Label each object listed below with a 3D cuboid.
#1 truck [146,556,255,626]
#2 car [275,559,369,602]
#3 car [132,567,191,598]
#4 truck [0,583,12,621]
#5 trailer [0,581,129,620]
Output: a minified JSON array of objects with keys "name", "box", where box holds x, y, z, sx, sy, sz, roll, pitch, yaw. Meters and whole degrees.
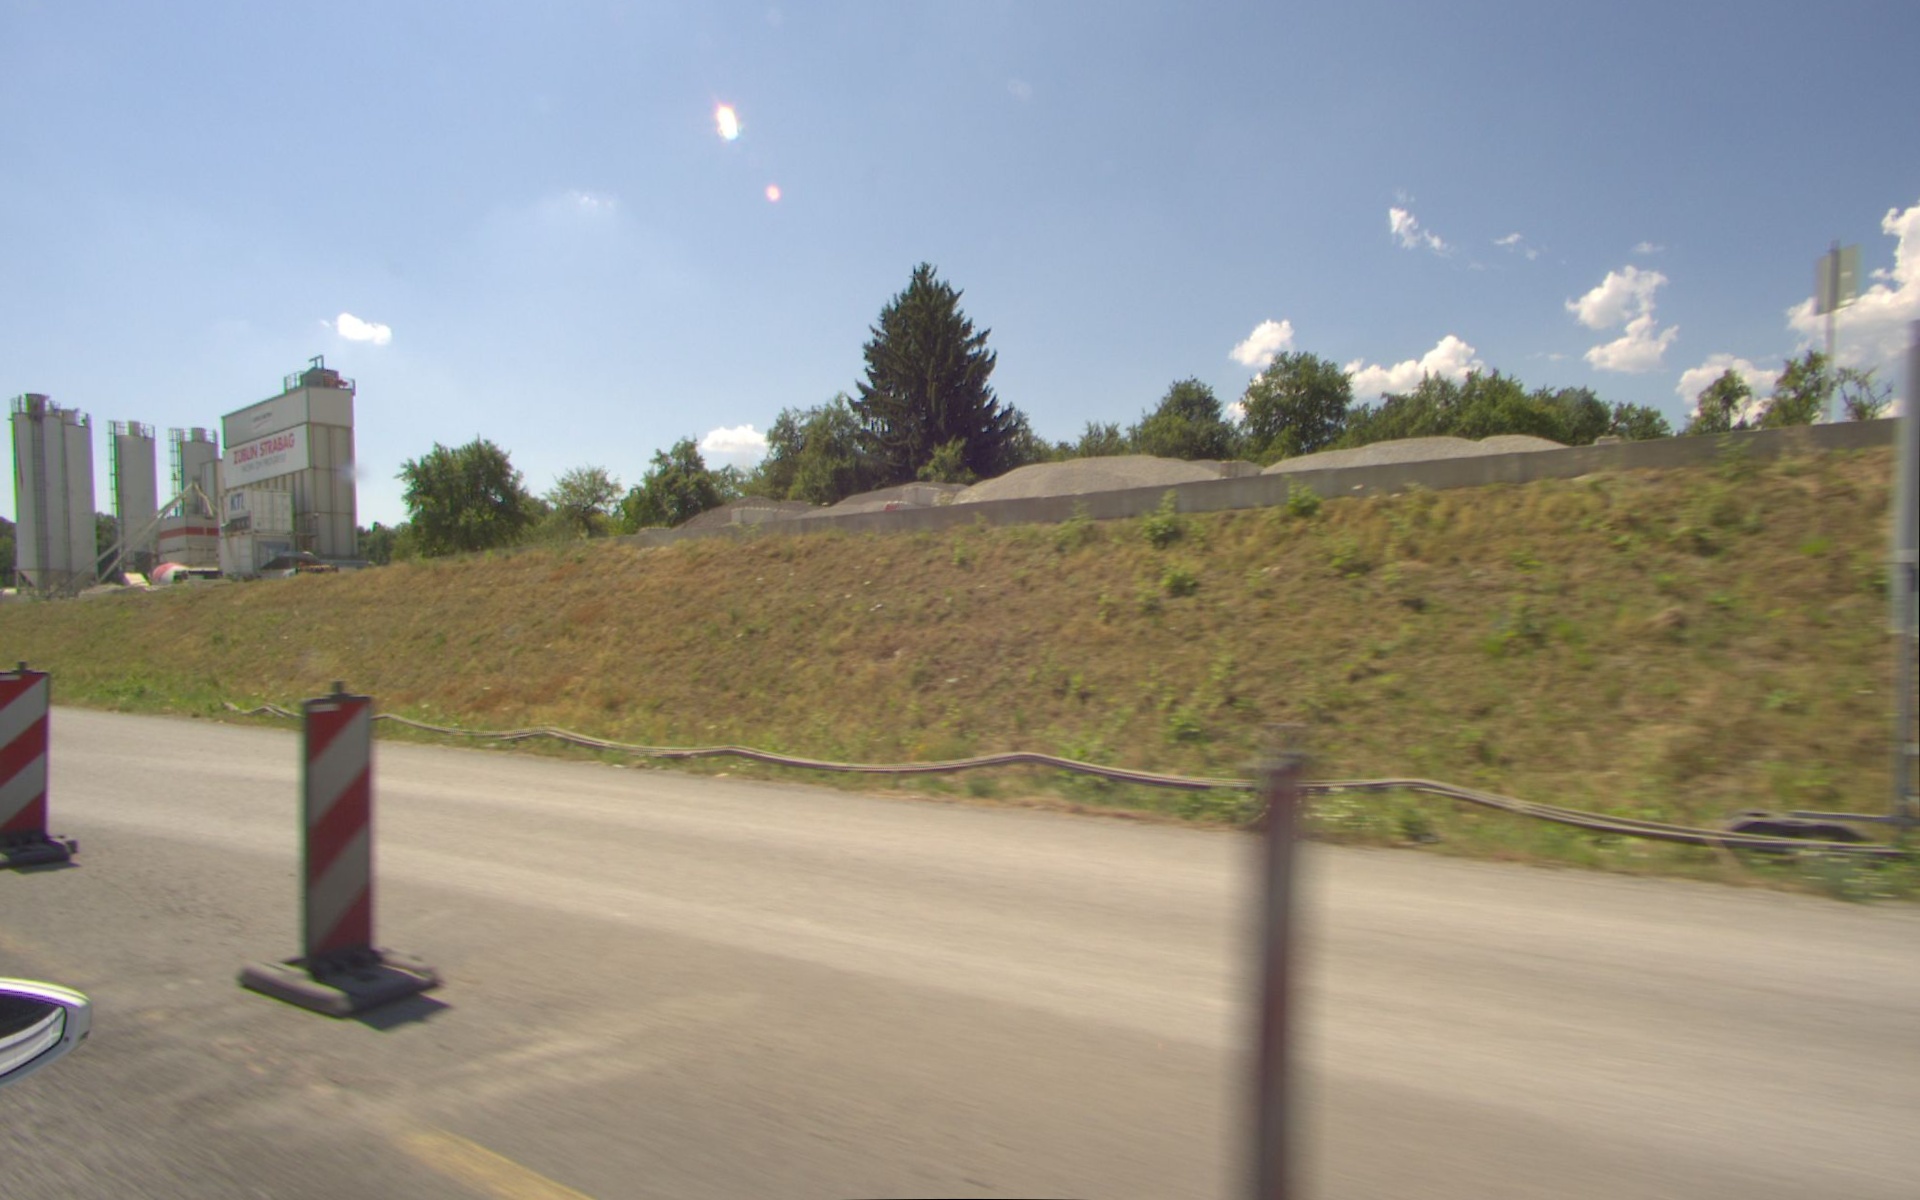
[{"name":"truck","box":[-50.589,-0.486,66.591,9.804,4.353,3.422,-1,0,39]},{"name":"car","box":[-32.694,-0.938,51.303,4.922,2.040,2.218,-1,0,33]},{"name":"car","box":[-57.428,-1.220,72.001,4.365,2.040,1.989,-1,0,33]},{"name":"truck","box":[-82.031,0.170,83.729,2.866,3.154,5.975,0,0,-33]},{"name":"trailer","box":[-80.224,0.111,89.346,3.272,3.271,9.011,0,-1,18]}]
